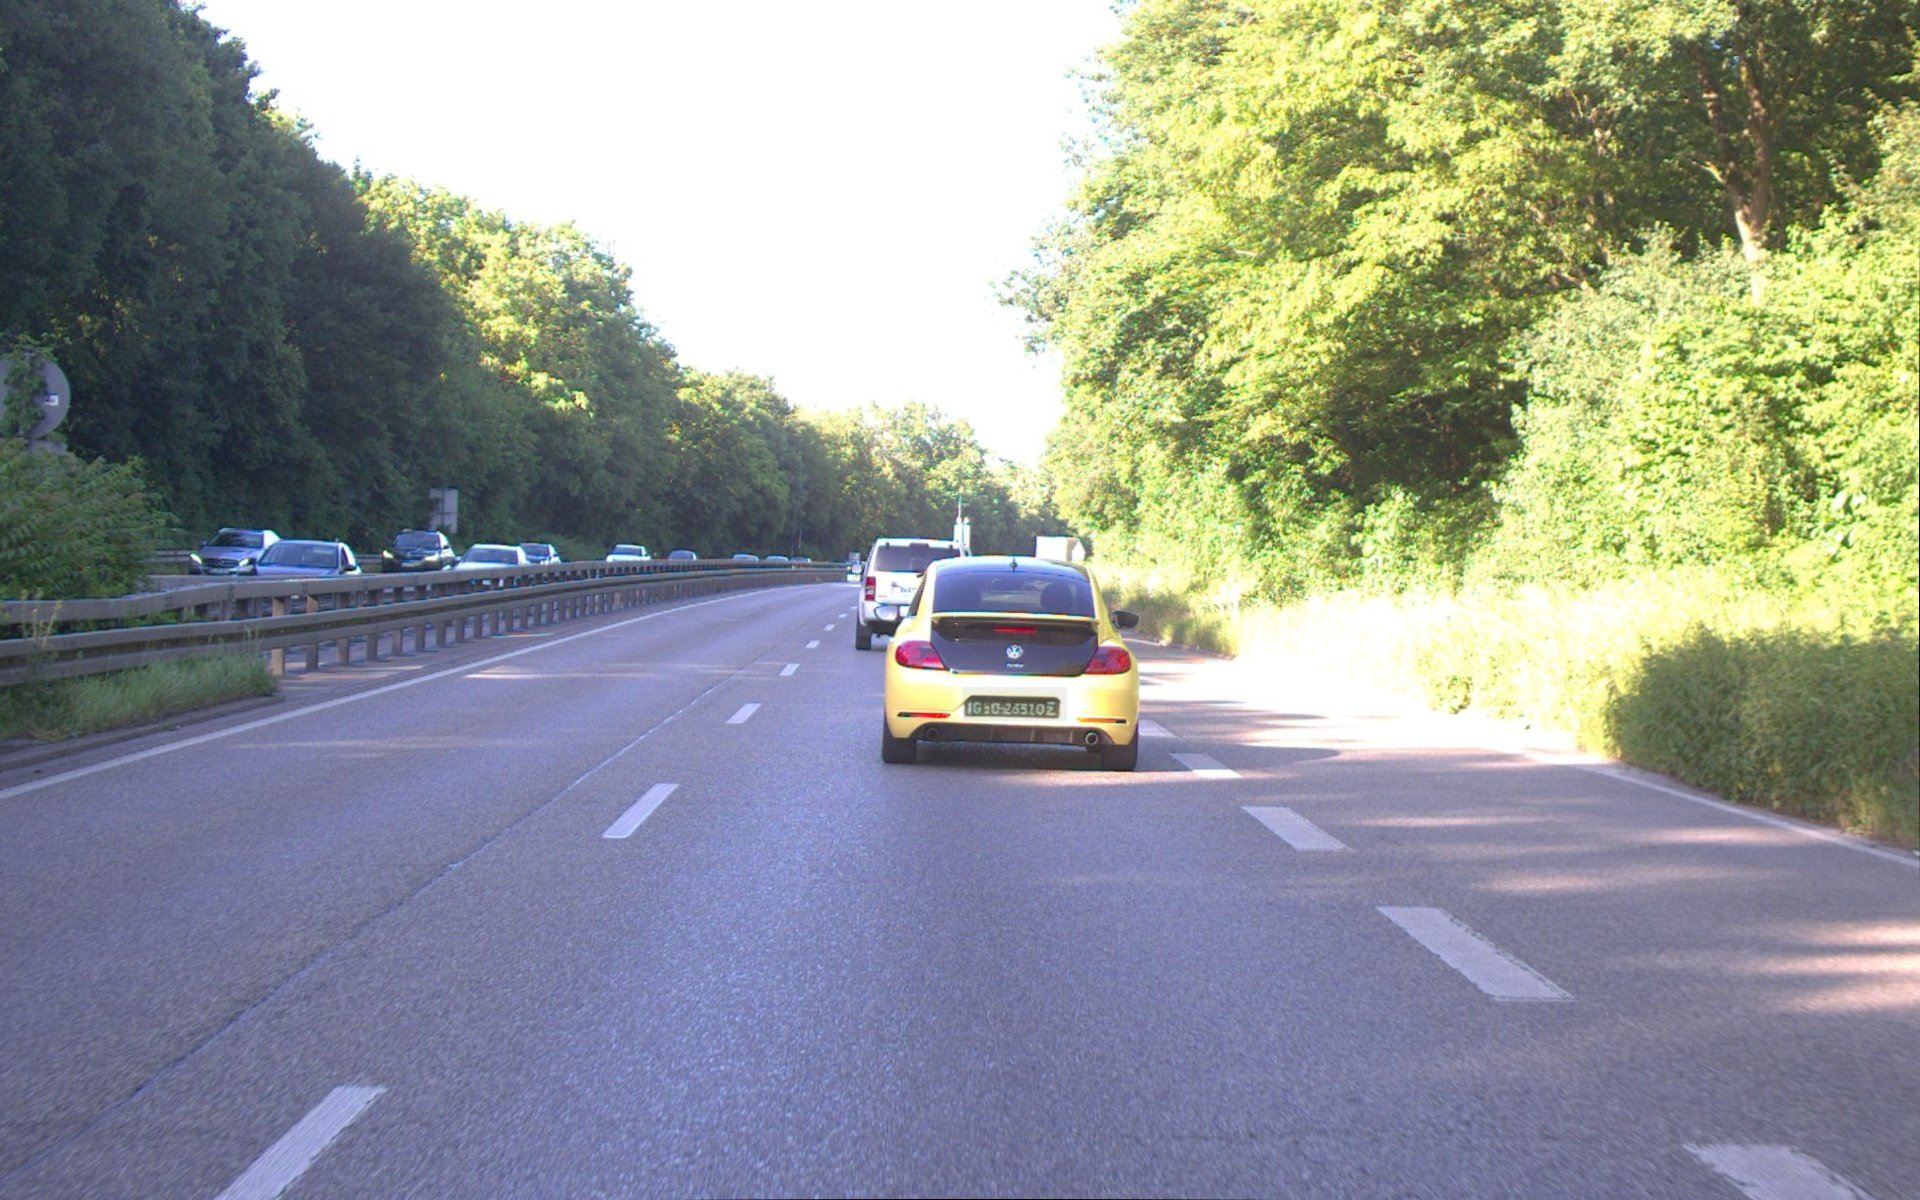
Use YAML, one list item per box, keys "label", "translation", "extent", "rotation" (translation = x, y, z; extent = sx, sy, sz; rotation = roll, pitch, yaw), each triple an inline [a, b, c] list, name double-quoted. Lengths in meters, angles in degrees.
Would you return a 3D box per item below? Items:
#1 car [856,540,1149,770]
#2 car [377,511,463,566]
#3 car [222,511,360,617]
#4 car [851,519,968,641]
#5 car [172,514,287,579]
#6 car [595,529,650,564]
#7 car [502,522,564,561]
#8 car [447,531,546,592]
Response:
- label: "car"
  translation: [0.369, 0.352, 24.762]
  extent: [1.939, 1.503, 3.422]
  rotation: [1, 1, 3]
- label: "car"
  translation: [-17.207, -1.938, 109.719]
  extent: [1.993, 1.693, 4.908]
  rotation: [1, 1, -1]
- label: "car"
  translation: [-12.272, -0.661, 63.276]
  extent: [1.788, 1.853, 4.000]
  rotation: [1, 1, -1]
- label: "car"
  translation: [-0.795, -0.324, 54.110]
  extent: [1.741, 1.823, 3.423]
  rotation: [1, 1, -1]
- label: "car"
  translation: [-18.762, -1.370, 88.456]
  extent: [1.993, 1.595, 4.707]
  rotation: [1, 1, -1]
- label: "car"
  translation: [-16.379, -2.591, 167.104]
  extent: [1.994, 1.617, 4.789]
  rotation: [1, 1, 2]
- label: "car"
  translation: [-16.936, -2.304, 136.367]
  extent: [1.993, 1.481, 4.000]
  rotation: [1, 1, -1]
- label: "car"
  translation: [-12.173, -1.013, 90.545]
  extent: [1.993, 1.554, 4.707]
  rotation: [1, 1, -1]
